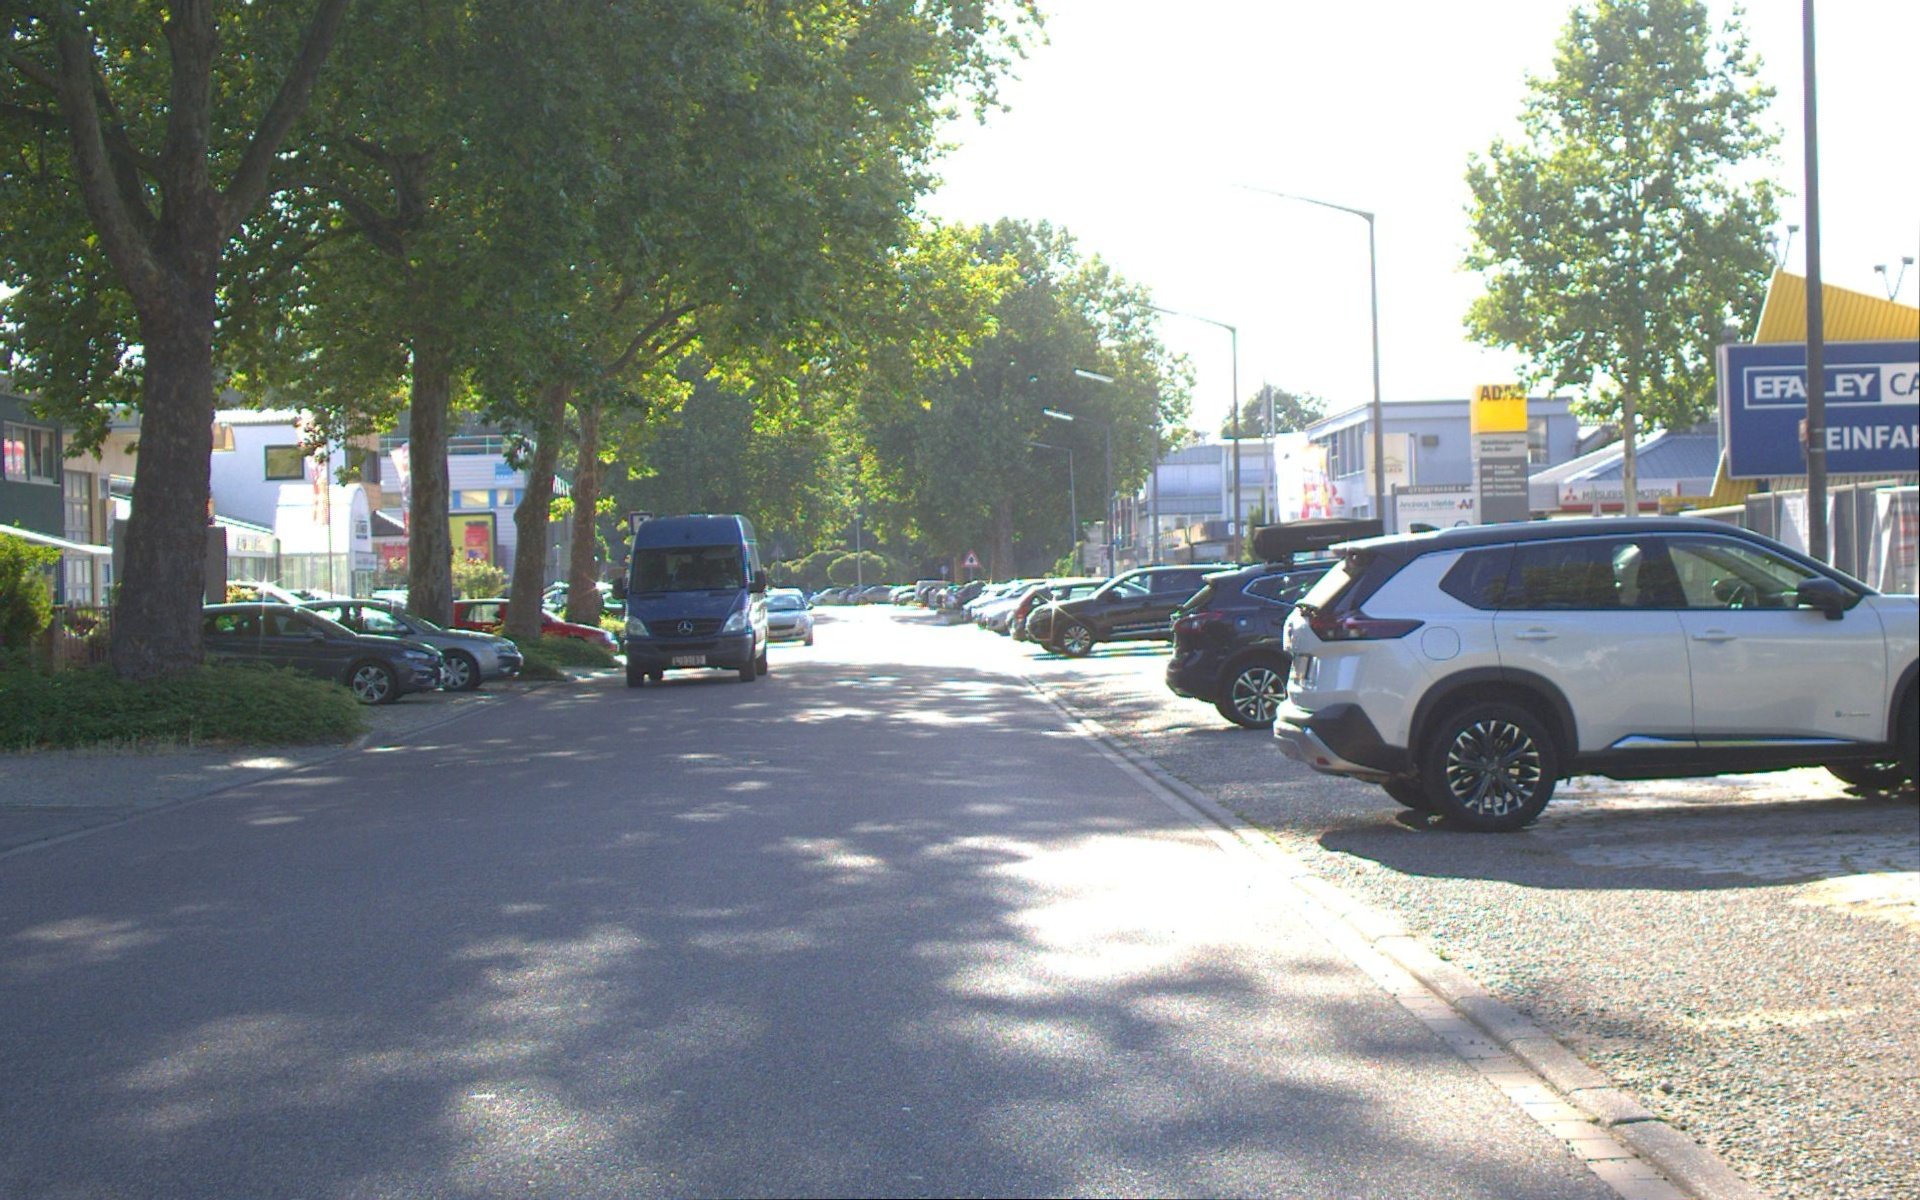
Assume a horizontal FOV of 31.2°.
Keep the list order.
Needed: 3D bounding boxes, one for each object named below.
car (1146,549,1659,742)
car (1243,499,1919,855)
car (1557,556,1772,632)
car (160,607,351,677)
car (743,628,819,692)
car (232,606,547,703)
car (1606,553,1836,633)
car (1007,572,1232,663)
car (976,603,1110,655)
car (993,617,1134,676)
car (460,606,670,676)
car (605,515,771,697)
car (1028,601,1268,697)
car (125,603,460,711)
[{"bbox_3d":[4.271,0.443,33.734,4.624,1.521,2.000,-4,-1,-2],"label":"car"},{"bbox_3d":[4.113,0.394,19.866,4.624,1.706,2.000,-4,-1,-2],"label":"car"},{"bbox_3d":[14.598,-0.110,71.341,3.986,1.514,1.953,0,-1,-5],"label":"car"},{"bbox_3d":[-18.854,1.134,92.150,4.745,1.813,2.000,0,-1,-2],"label":"car"},{"bbox_3d":[-4.729,1.592,91.105,1.838,1.565,3.802,-3,-1,-1],"label":"car"},{"bbox_3d":[-8.876,0.831,53.762,4.599,1.417,2.000,-1,0,-1],"label":"car"},{"bbox_3d":[14.943,-0.123,67.607,3.986,1.492,2.000,0,-1,-5],"label":"car"},{"bbox_3d":[3.397,0.385,73.728,4.600,1.608,2.000,-4,-1,-1],"label":"car"},{"bbox_3d":[2.985,1.052,124.028,4.554,1.592,2.202,-4,-1,-4],"label":"car"},{"bbox_3d":[3.079,1.401,102.817,3.986,1.582,1.868,-2,-1,-4],"label":"car"},{"bbox_3d":[-8.458,0.892,73.926,4.296,1.441,2.000,1,-1,-1],"label":"car"},{"bbox_3d":[-4.225,0.075,54.499,2.127,2.650,7.001,-1,0,-1],"label":"car"},{"bbox_3d":[3.700,0.975,68.284,4.601,1.574,2.000,-4,-1,1],"label":"car"},{"bbox_3d":[-9.277,0.777,48.067,4.353,1.417,2.000,-1,0,-3],"label":"car"}]
